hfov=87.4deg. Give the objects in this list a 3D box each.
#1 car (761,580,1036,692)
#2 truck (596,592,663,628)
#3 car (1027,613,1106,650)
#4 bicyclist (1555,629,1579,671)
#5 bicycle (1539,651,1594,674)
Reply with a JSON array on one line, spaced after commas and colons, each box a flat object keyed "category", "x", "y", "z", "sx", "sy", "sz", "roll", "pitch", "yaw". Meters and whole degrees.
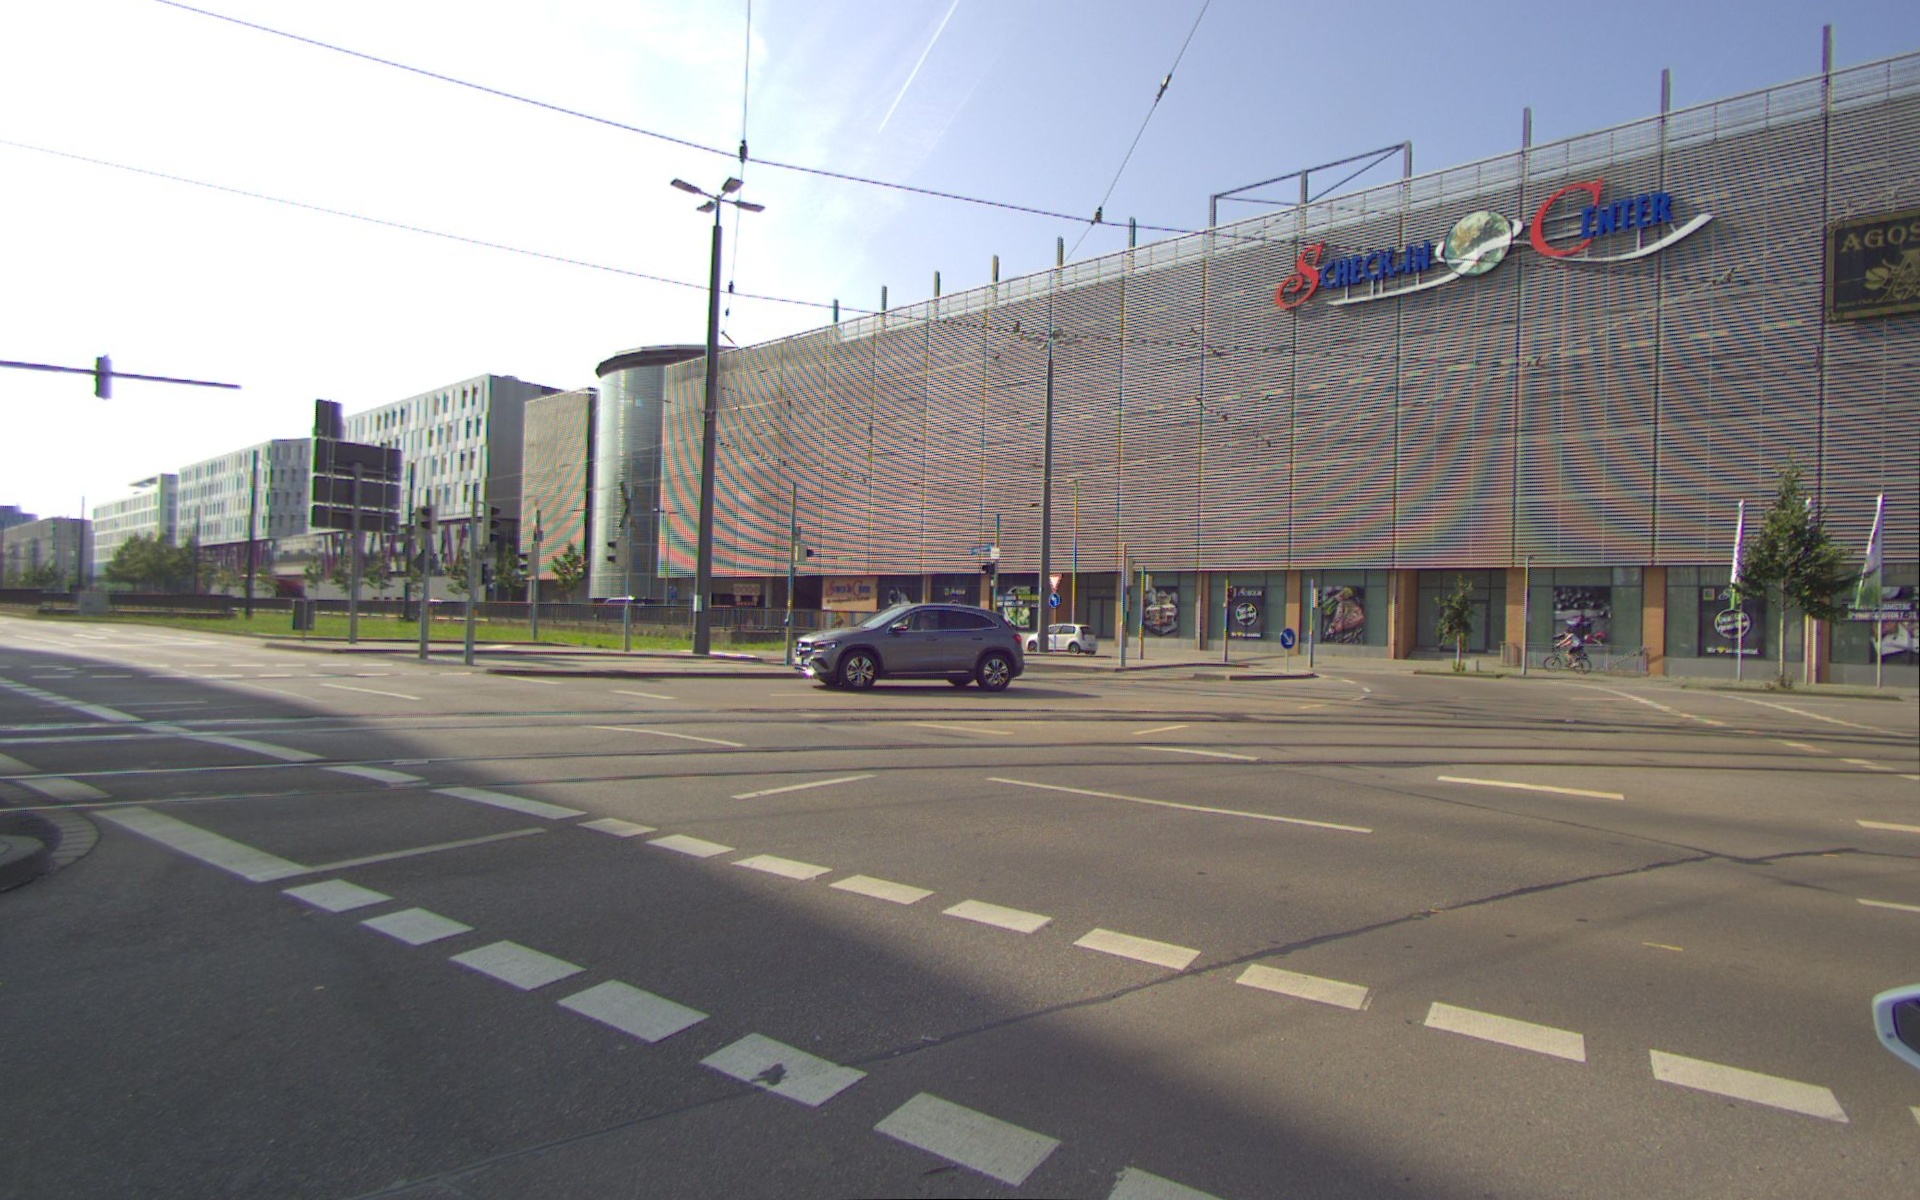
[{"category": "car", "x": -1.145, "y": 0.691, "z": 19.011, "sx": 4.752, "sy": 1.807, "sz": 1.943, "roll": 4, "pitch": -1, "yaw": -26}, {"category": "truck", "x": -23.366, "y": 0.682, "z": 70.926, "sx": 4.476, "sy": 2.352, "sz": 2.201, "roll": 1, "pitch": -1, "yaw": 35}, {"category": "car", "x": 5.131, "y": 1.517, "z": 48.418, "sx": 3.350, "sy": 1.580, "sz": 1.736, "roll": 3, "pitch": -1, "yaw": 39}, {"category": "bicyclist", "x": 24.835, "y": 2.057, "z": 41.101, "sx": 0.704, "sy": 1.651, "sz": 0.566, "roll": 3, "pitch": 0, "yaw": 41}, {"category": "bicycle", "x": 24.812, "y": 2.540, "z": 41.113, "sx": 1.842, "sy": 0.790, "sz": 0.579, "roll": 3, "pitch": -1, "yaw": 42}]
